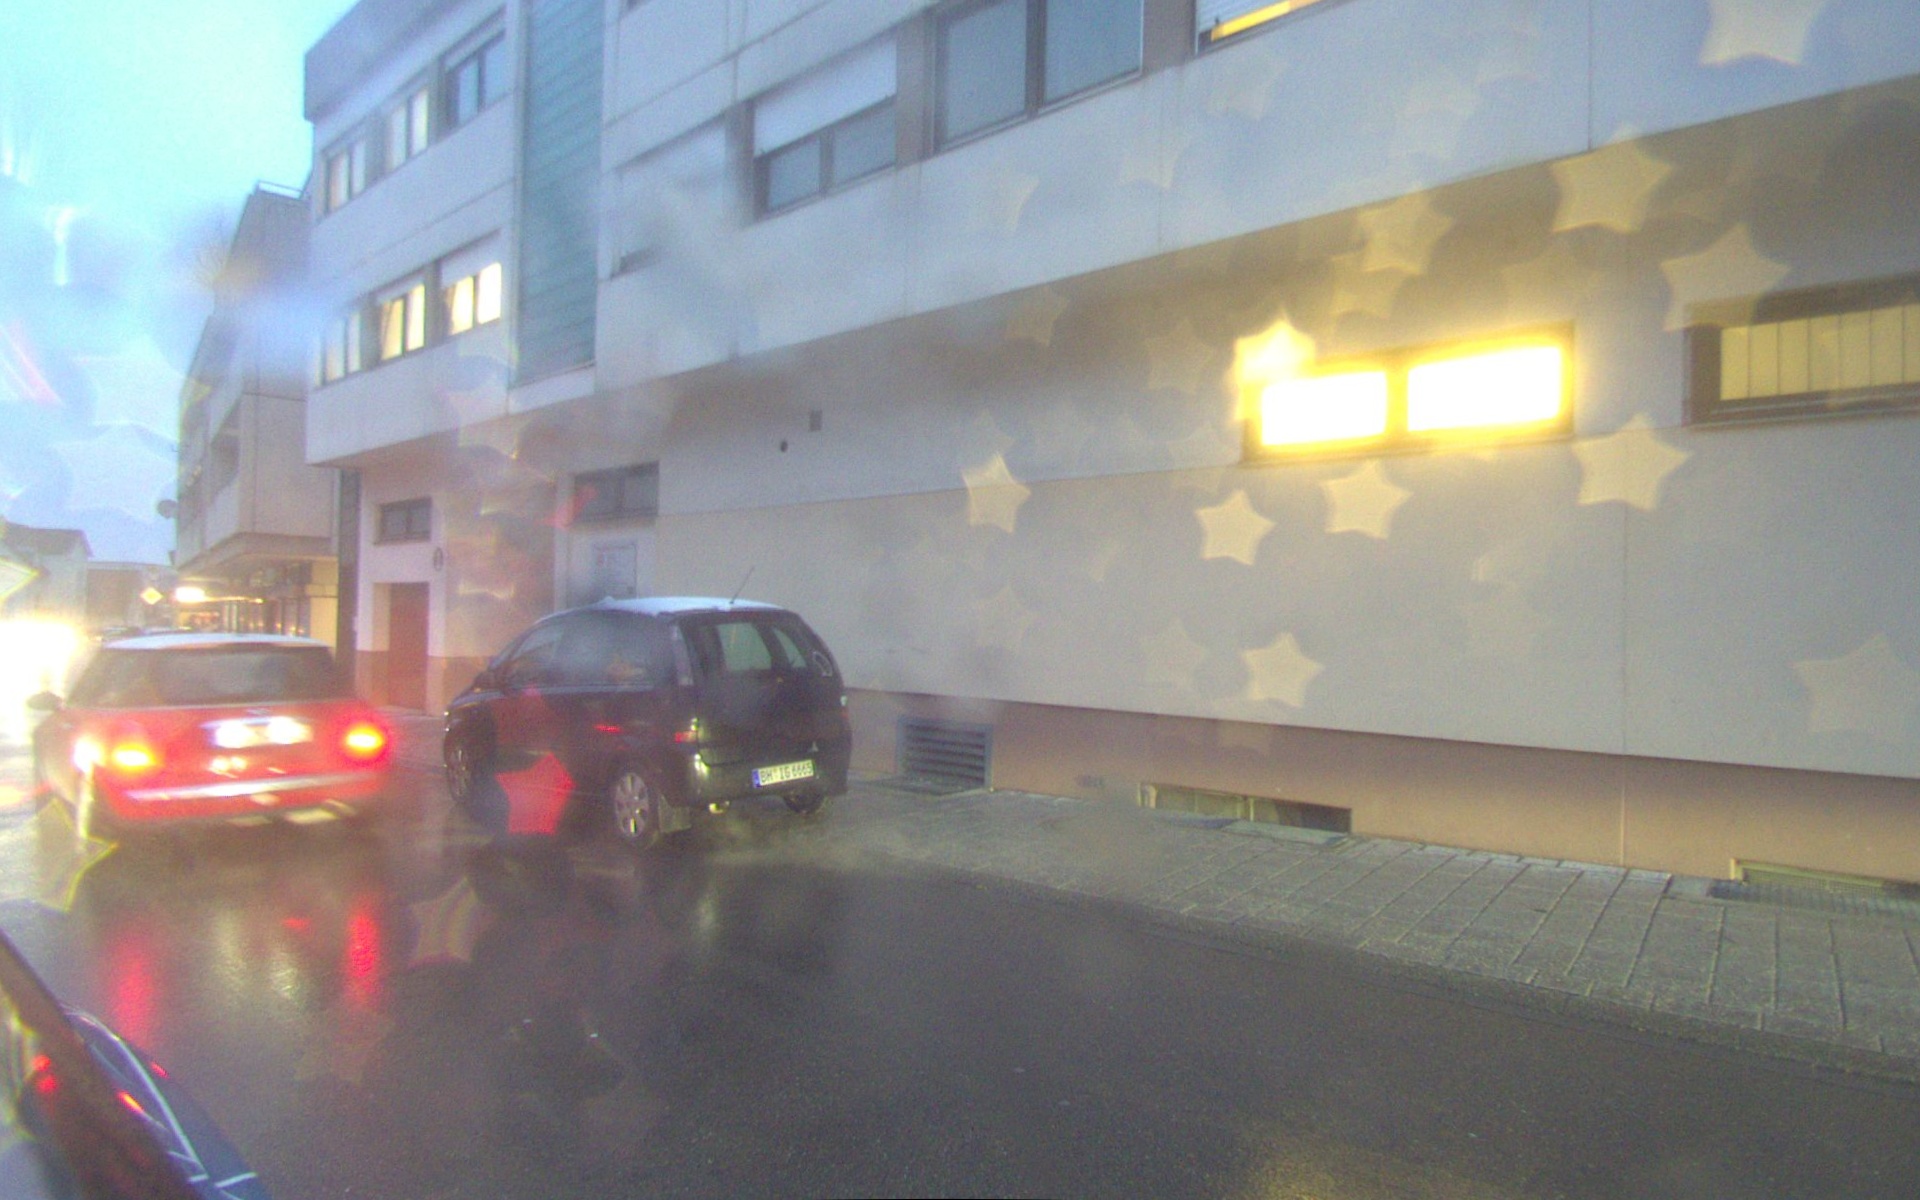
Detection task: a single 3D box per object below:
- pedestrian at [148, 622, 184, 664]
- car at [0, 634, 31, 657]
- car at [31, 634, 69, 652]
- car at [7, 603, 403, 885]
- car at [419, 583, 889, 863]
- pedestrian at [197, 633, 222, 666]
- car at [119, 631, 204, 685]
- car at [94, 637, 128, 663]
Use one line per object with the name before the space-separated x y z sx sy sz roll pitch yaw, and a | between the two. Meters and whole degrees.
pedestrian | -36.956 2.001 47.144 1.182 1.953 0.979 2 -3 -33
car | -67.247 3.219 71.575 1.770 1.522 4.009 3 -4 -37
car | -79.735 3.774 88.688 1.770 1.522 4.011 3 -3 -33
car | -5.555 0.833 7.314 3.404 1.547 1.621 -2 -2 41
car | -2.531 0.768 7.909 3.810 1.655 1.775 -2 -1 41
pedestrian | -30.351 1.992 40.942 0.746 1.320 0.829 0 -1 -43
car | -23.502 1.645 29.729 1.655 1.457 4.433 1 -2 -42
car | -56.921 3.324 67.915 1.699 1.626 3.822 -1 -1 -40
